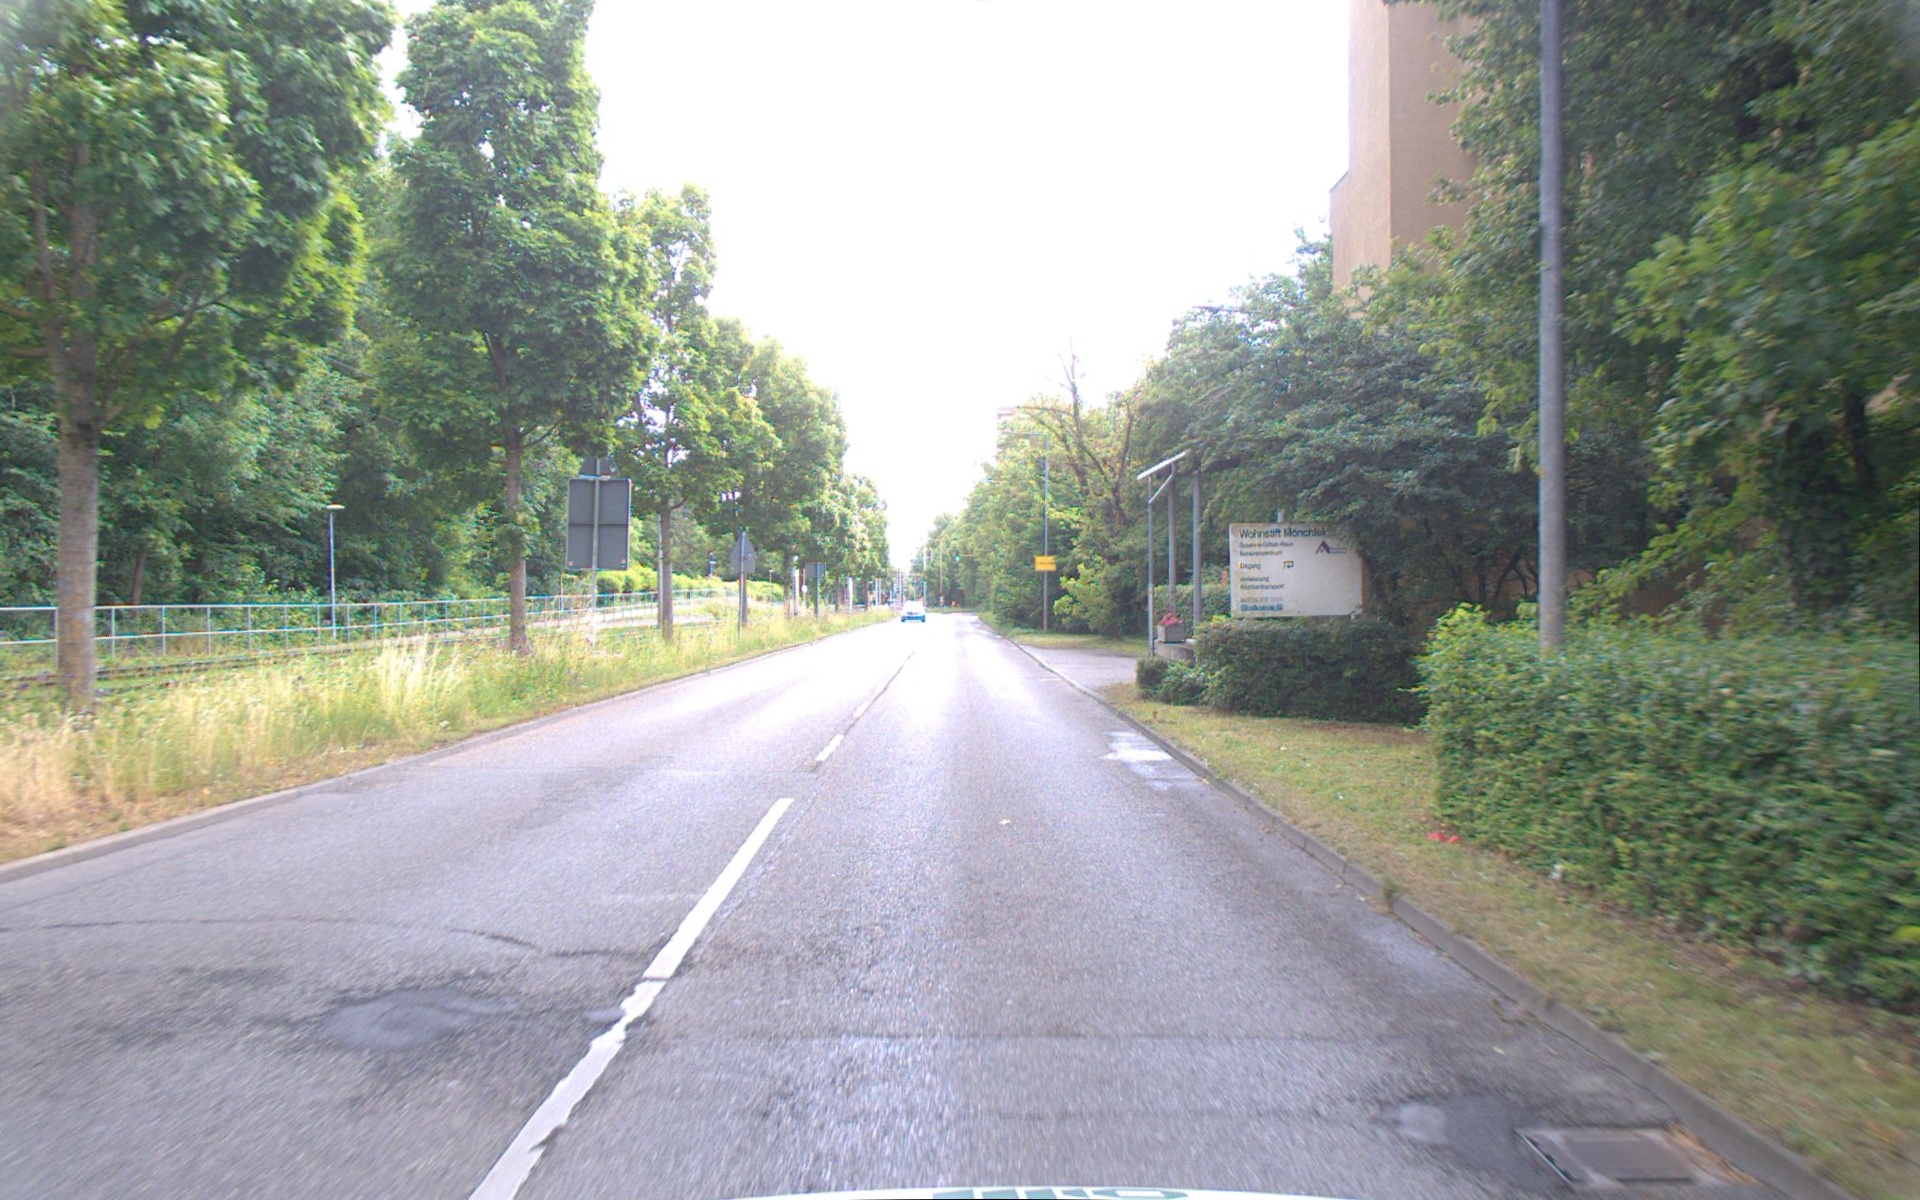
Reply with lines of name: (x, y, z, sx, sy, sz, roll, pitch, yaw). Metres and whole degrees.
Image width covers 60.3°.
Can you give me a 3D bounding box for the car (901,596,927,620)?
car: (-3.363, 0.548, 121.749, 1.681, 1.658, 4.000, 2, 0, 0)
